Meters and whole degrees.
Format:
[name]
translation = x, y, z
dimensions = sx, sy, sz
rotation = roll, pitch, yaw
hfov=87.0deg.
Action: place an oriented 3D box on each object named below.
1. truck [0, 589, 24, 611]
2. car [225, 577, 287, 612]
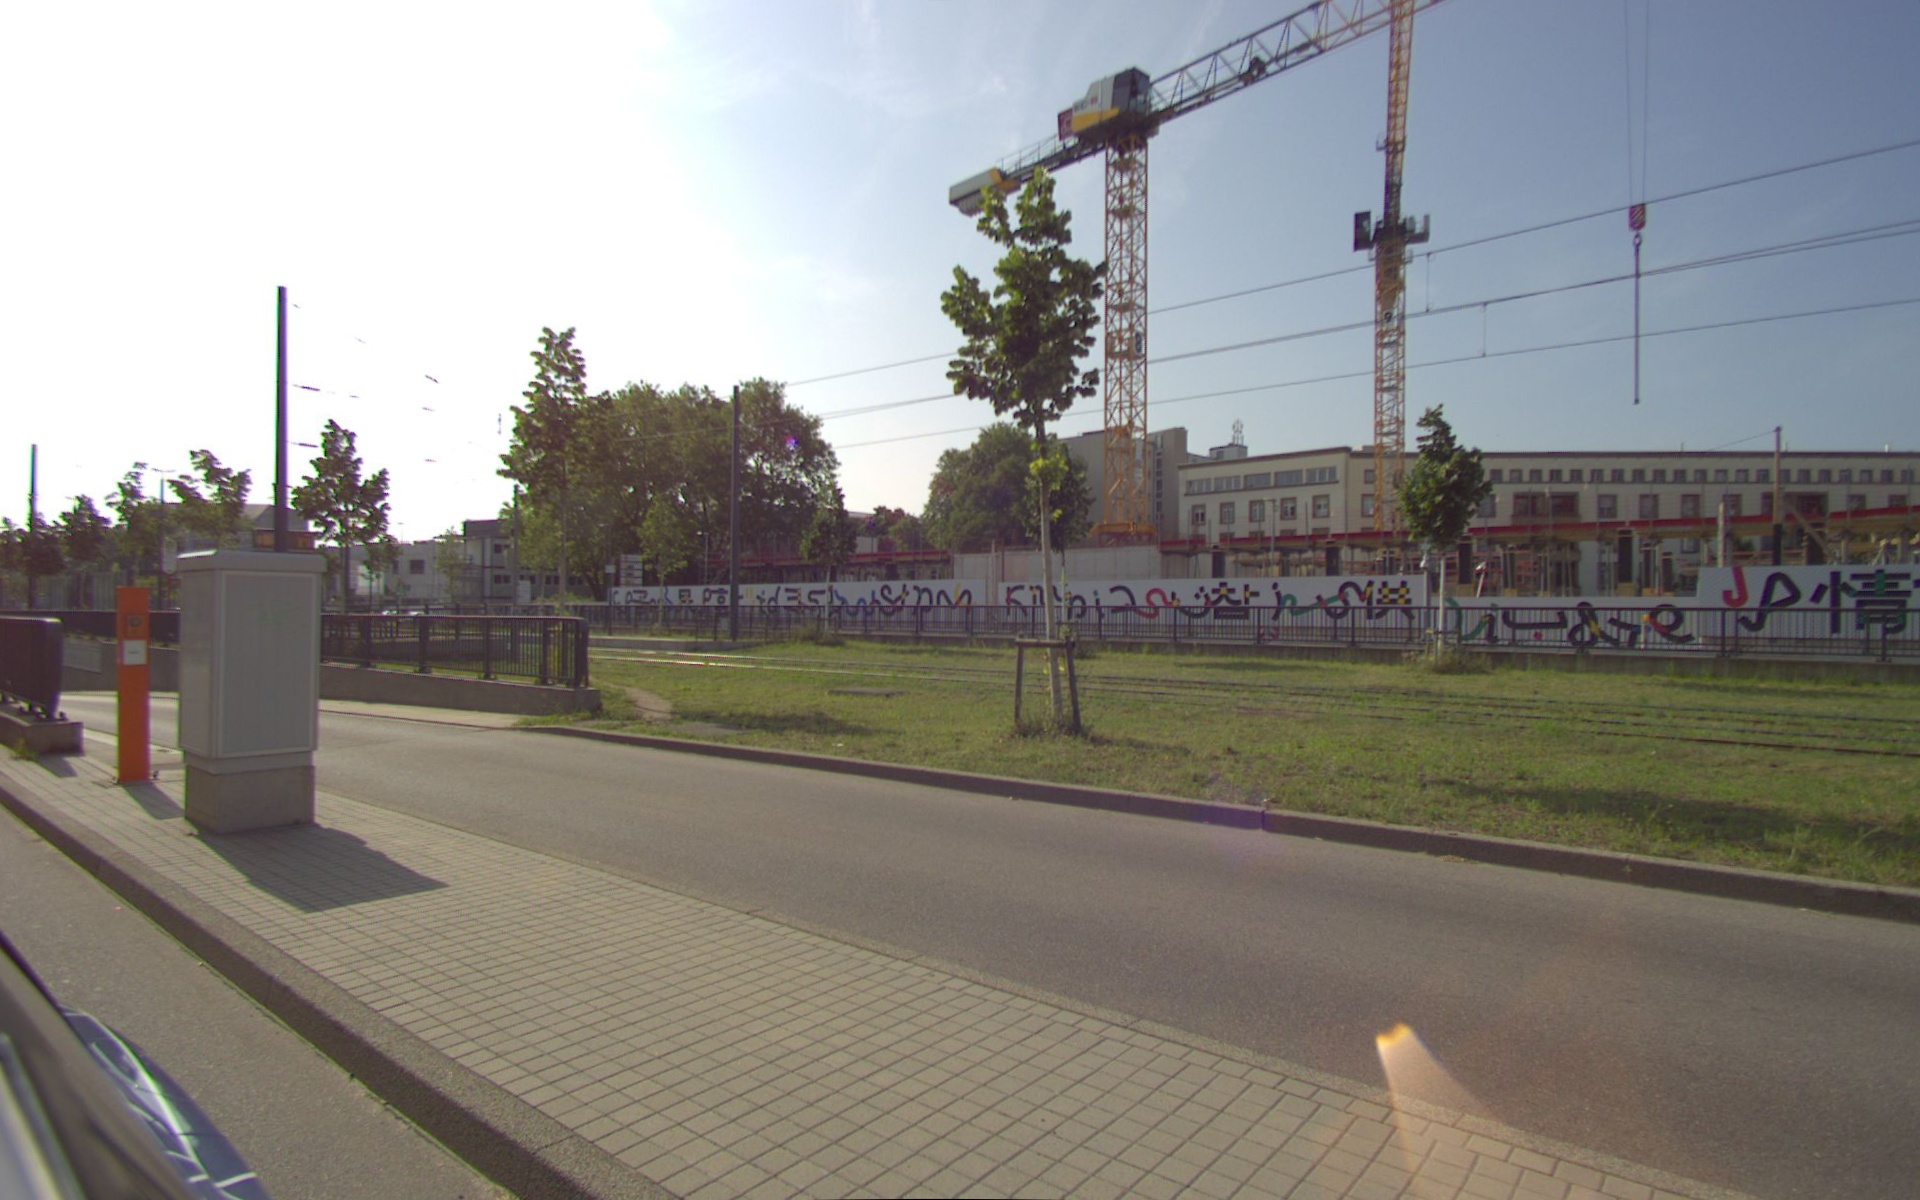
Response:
[truck]
translation = -155.242, 0.045, 164.827
dimensions = 8.882, 3.614, 2.991
rotation = 0, -1, 40
[car]
translation = -73.243, -0.498, 105.247
dimensions = 9.226, 3.539, 3.023
rotation = -1, 0, 40
